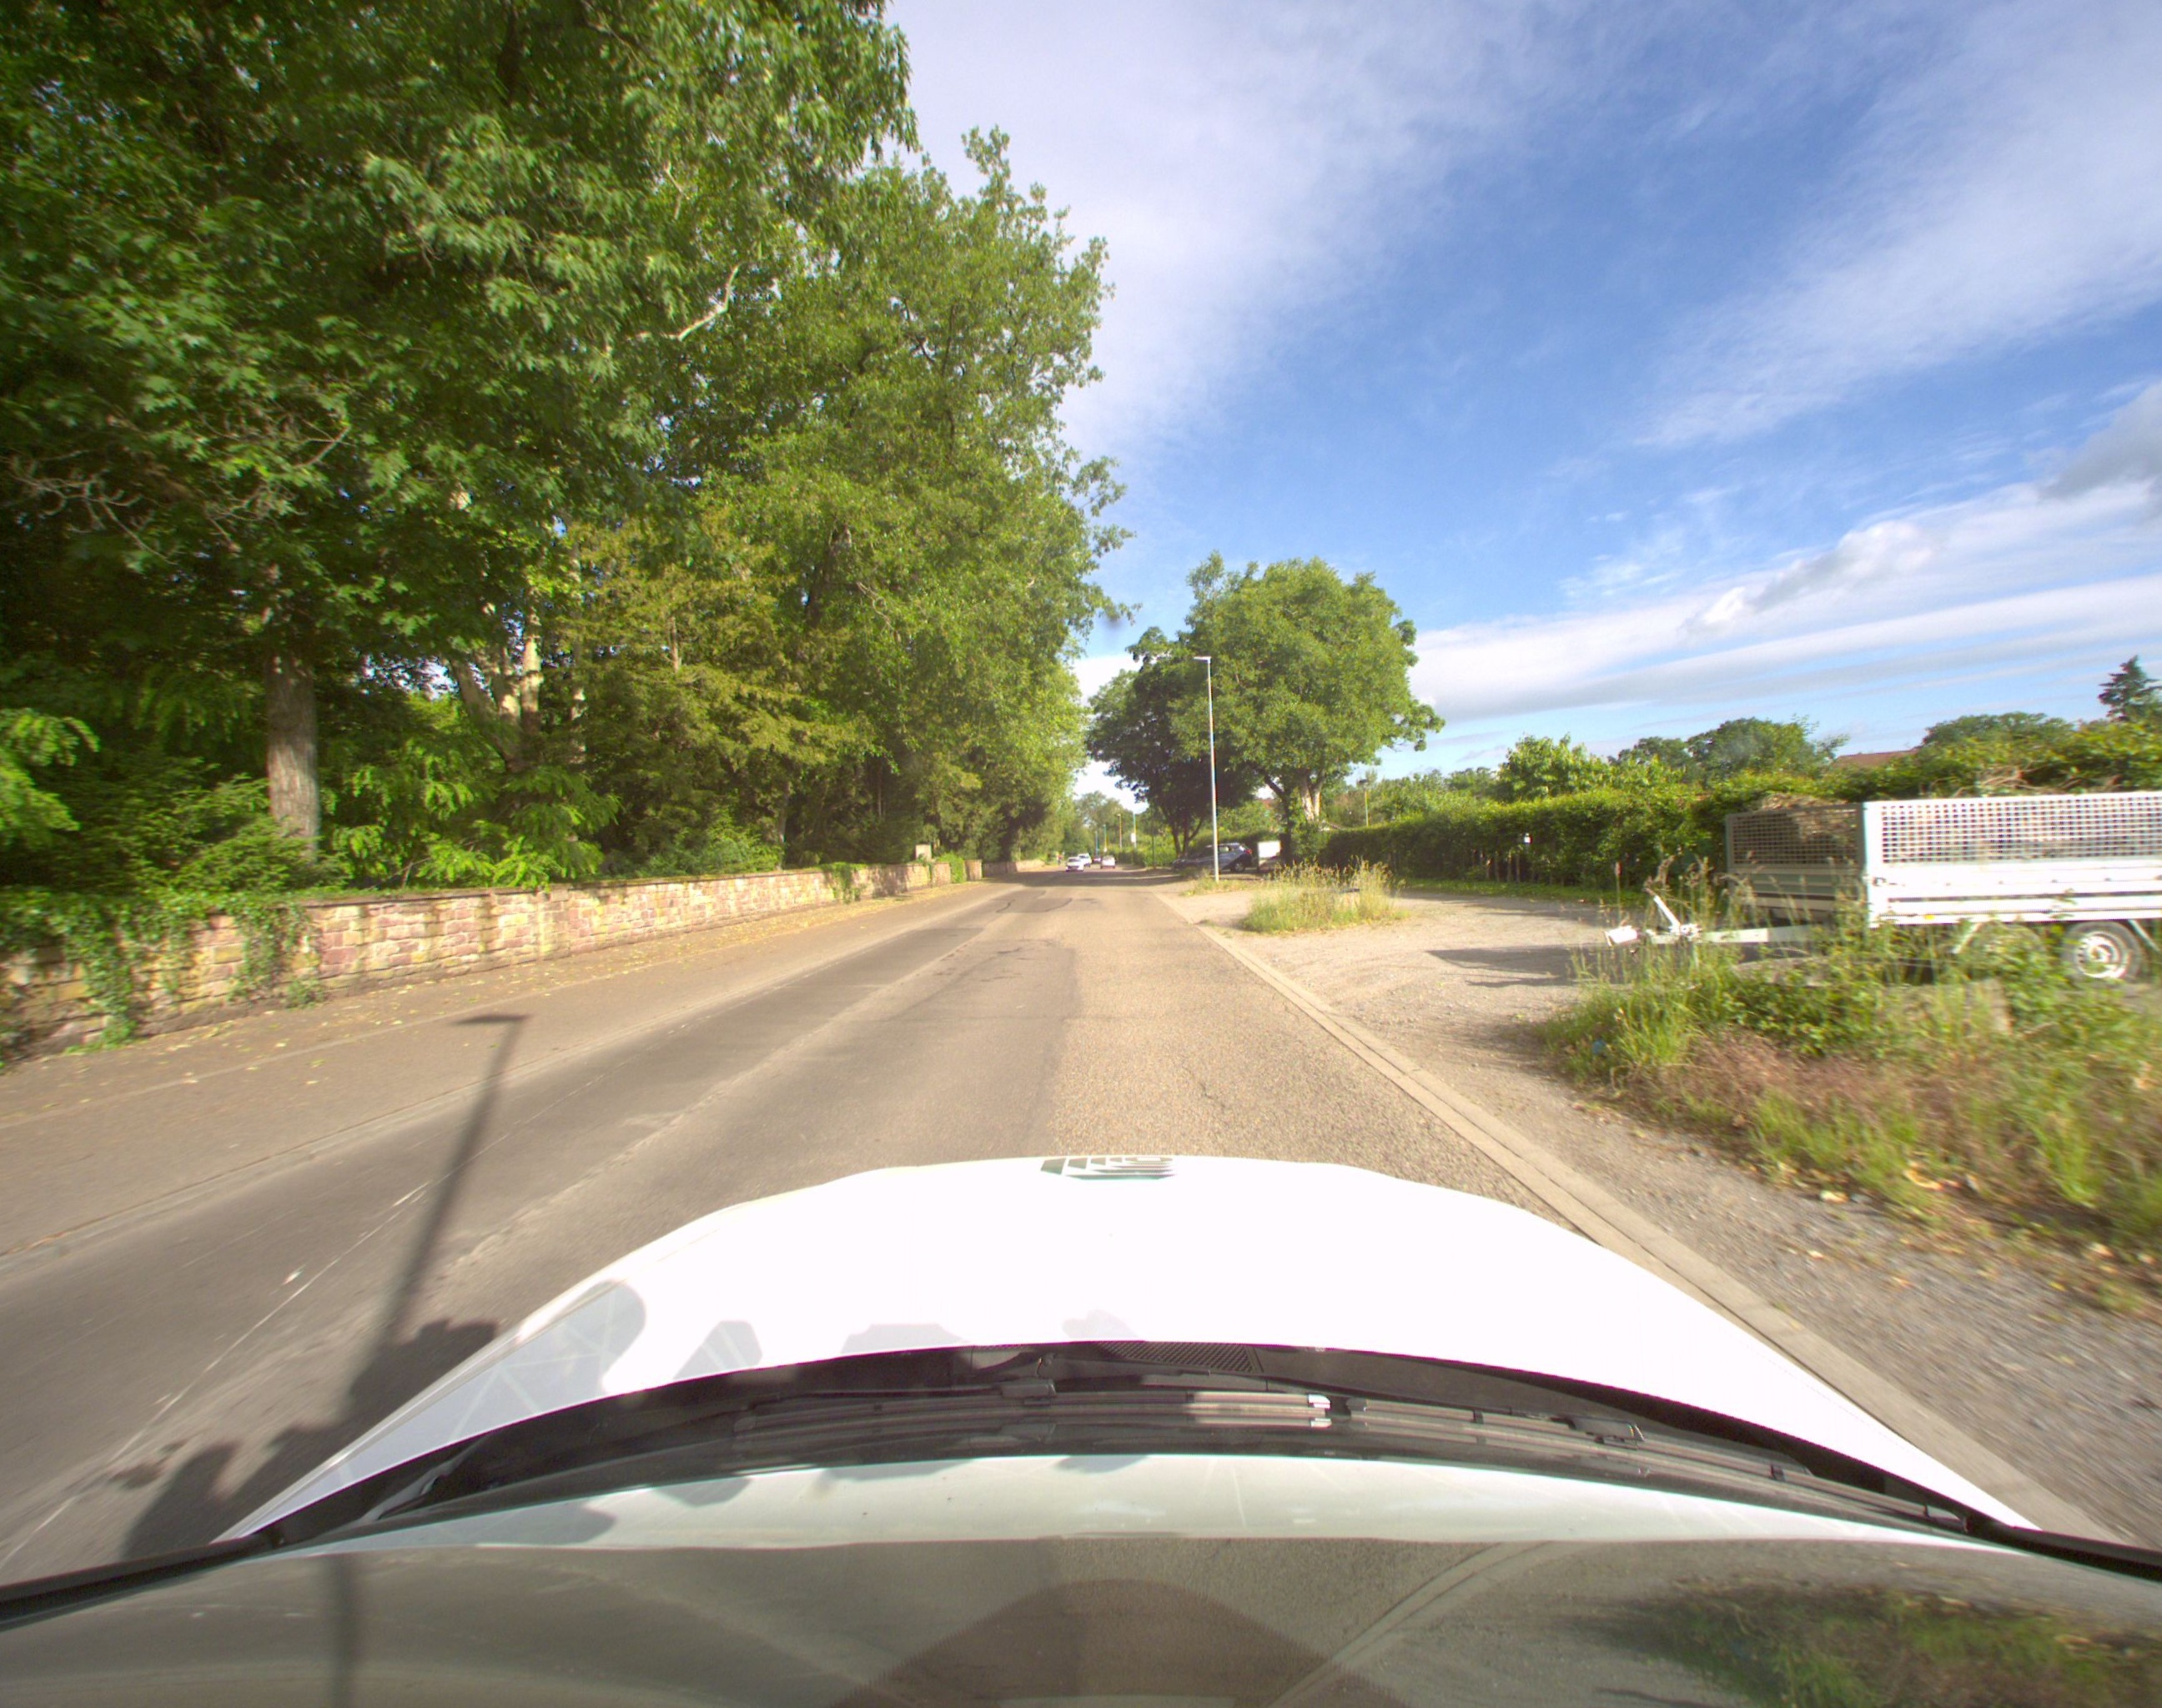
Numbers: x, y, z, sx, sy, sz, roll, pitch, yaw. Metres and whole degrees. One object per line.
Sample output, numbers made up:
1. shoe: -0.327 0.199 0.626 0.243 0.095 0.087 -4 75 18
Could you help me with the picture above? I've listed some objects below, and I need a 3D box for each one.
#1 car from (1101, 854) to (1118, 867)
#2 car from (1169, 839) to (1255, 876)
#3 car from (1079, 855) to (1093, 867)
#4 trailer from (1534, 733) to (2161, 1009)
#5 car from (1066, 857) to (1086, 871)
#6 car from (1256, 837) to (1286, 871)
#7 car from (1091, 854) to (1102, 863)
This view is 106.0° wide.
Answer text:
1. car: 3.342 0.761 95.583 1.880 1.372 4.055 -3 0 1
2. car: 7.247 0.181 45.369 4.386 1.646 2.001 -5 0 2
3. car: 0.668 0.963 111.132 1.880 1.564 4.055 -3 0 1
4. trailer: 6.552 0.127 7.028 4.132 1.835 1.919 -4 0 5
5. car: -0.541 0.992 82.359 1.881 1.372 4.053 -3 0 -1
6. car: 10.074 -0.035 43.413 1.342 1.632 4.125 -5 0 12
7. car: 2.878 0.838 148.016 1.880 1.613 4.055 -3 0 1
